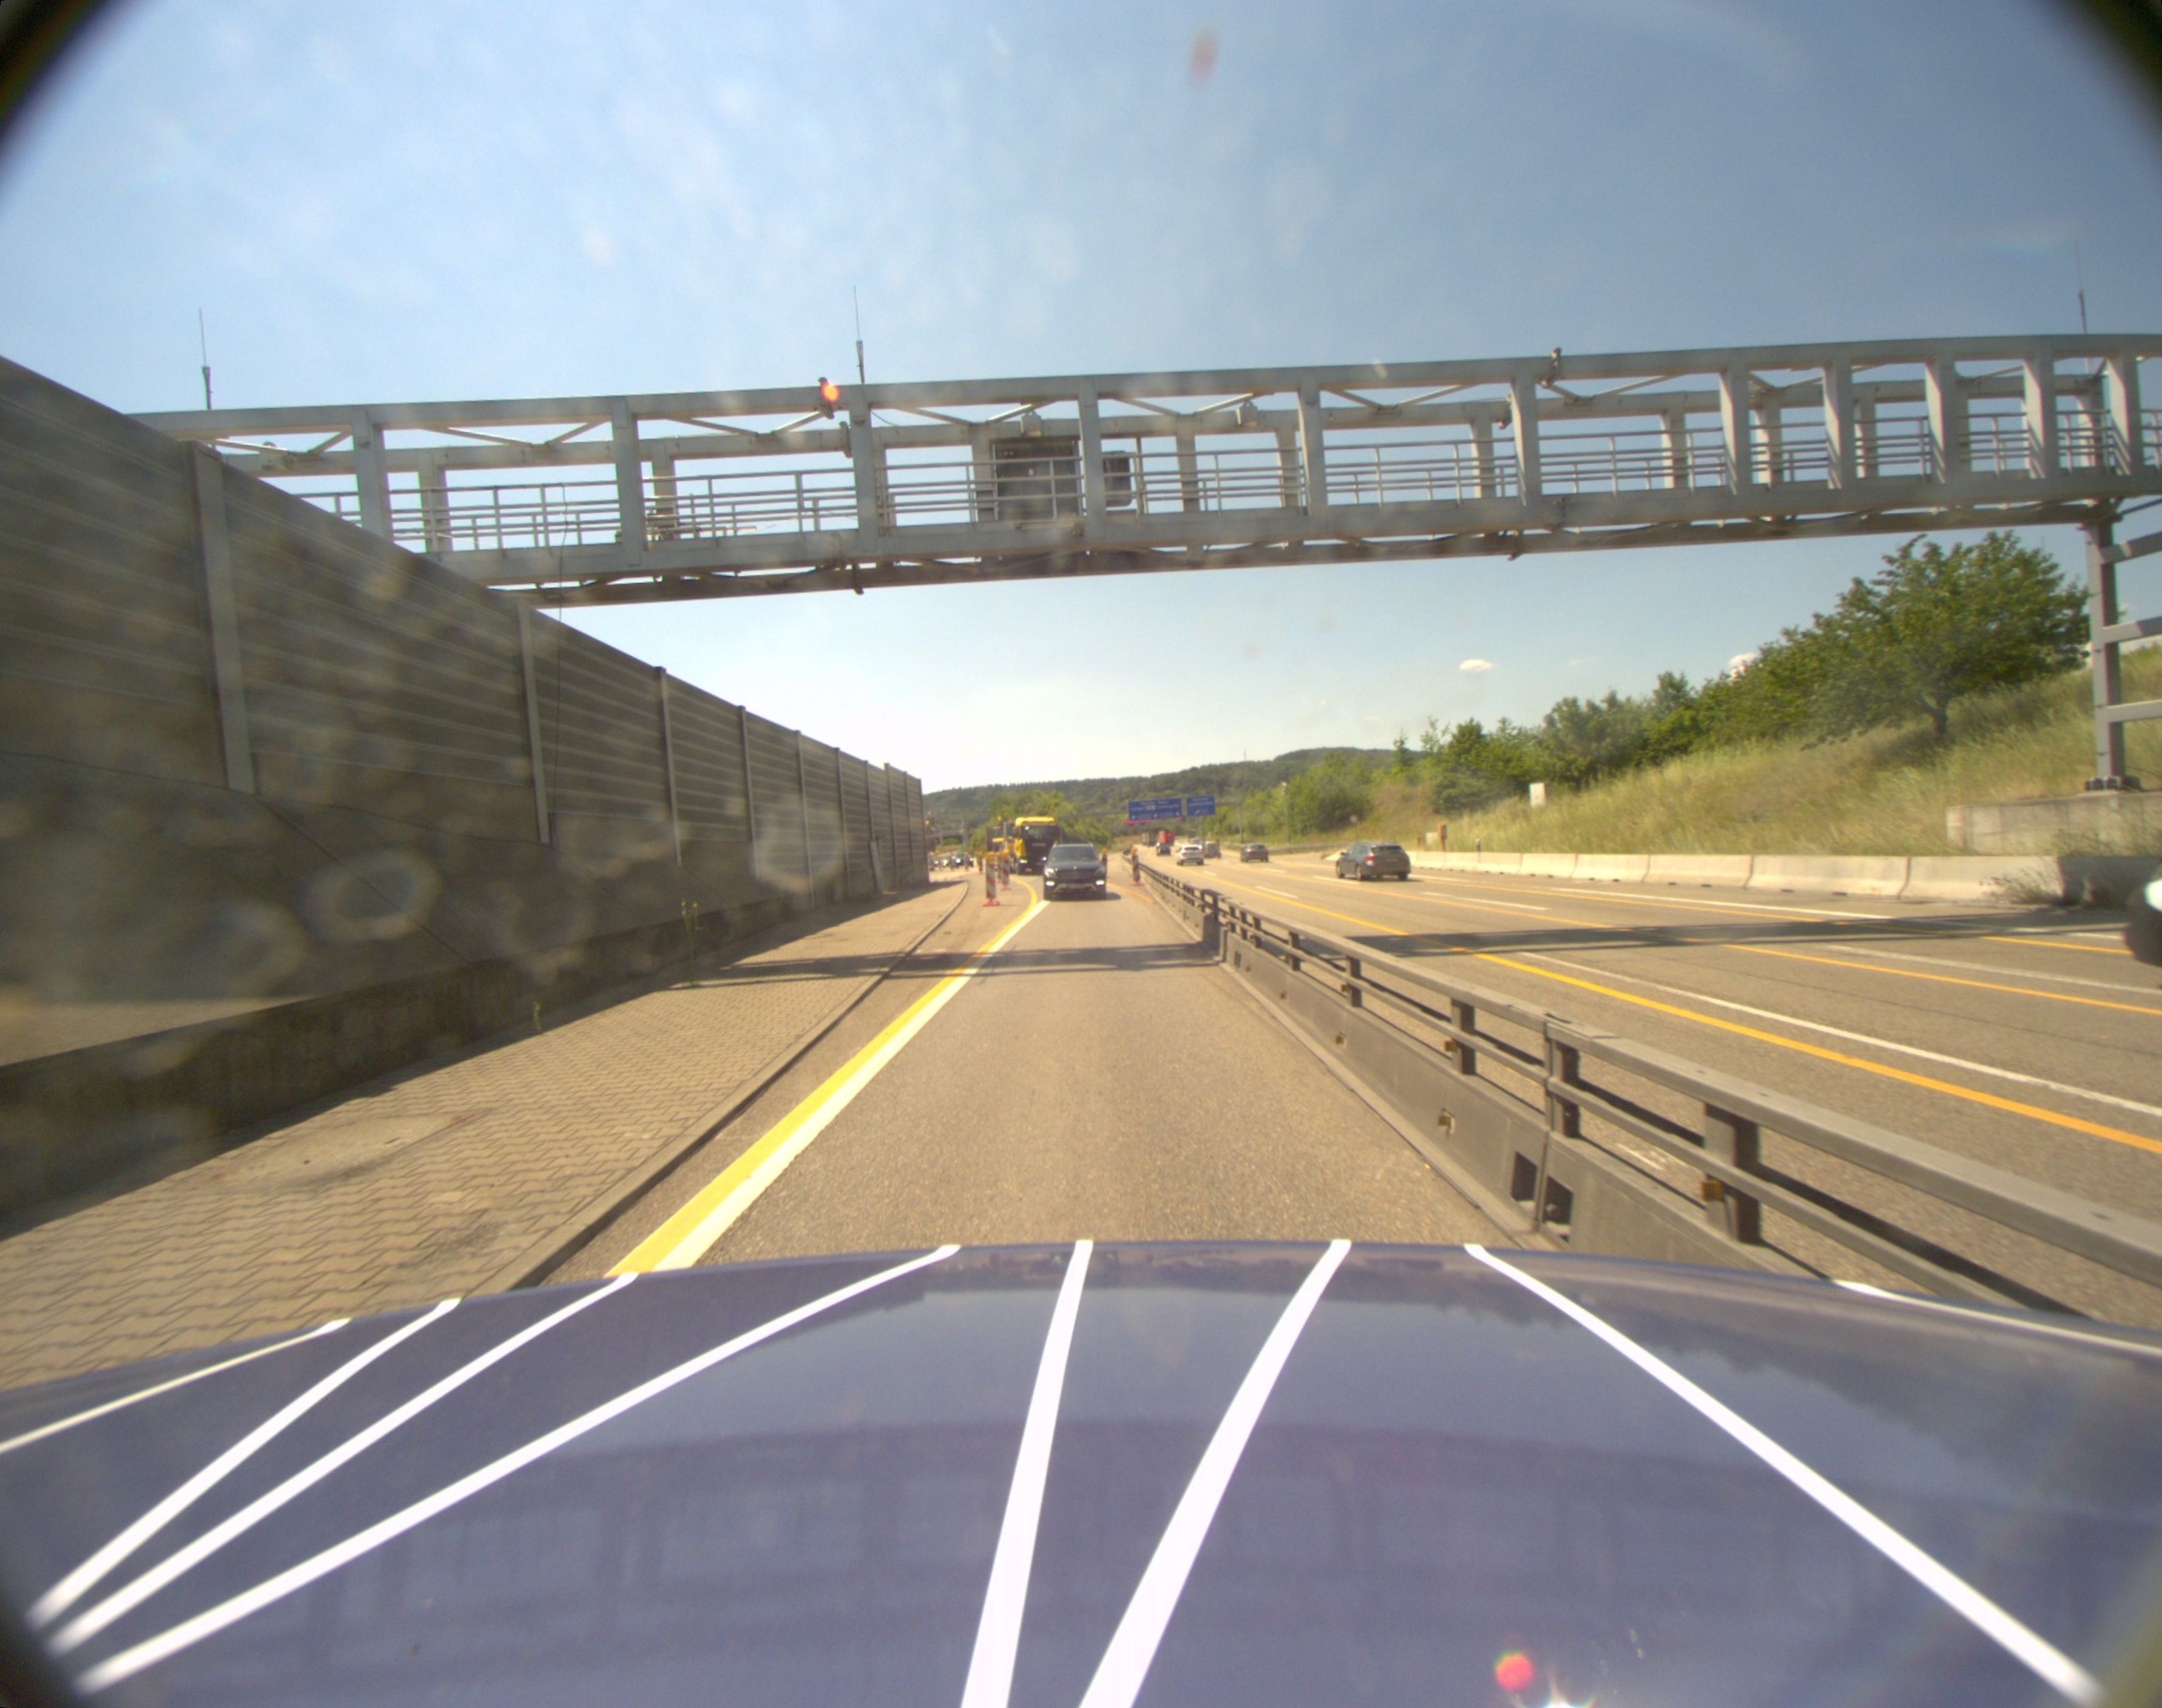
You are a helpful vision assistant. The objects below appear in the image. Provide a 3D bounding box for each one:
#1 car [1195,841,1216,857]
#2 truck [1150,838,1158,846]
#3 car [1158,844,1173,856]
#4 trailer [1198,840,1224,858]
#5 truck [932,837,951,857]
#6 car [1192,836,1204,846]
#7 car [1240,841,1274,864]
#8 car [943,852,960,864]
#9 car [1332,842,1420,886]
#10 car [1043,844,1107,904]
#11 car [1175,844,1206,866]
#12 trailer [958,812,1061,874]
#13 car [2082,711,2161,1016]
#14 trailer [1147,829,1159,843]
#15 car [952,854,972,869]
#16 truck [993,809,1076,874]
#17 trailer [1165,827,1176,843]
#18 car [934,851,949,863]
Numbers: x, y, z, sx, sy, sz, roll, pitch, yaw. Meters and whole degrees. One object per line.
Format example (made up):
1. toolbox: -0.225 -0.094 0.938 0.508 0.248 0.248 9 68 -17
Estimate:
1. car: 14.106 -0.538 86.491 1.778 1.717 4.868 -2 0 2
2. truck: 20.582 -3.351 213.270 1.998 1.862 4.762 -4 0 4
3. car: 11.727 -0.610 105.441 1.777 1.584 4.986 -2 0 3
4. trailer: 13.852 -0.527 81.282 1.951 1.795 5.523 -2 0 2
5. truck: -30.012 -1.413 162.640 3.239 3.646 17.404 -6 1 -12
6. car: 23.393 -2.619 152.131 1.691 1.824 4.787 -2 2 2
7. car: 14.085 -0.138 61.180 1.778 1.657 4.807 -2 0 2
8. car: -15.627 0.474 91.365 1.477 1.439 4.354 -2 1 -16
9. car: 11.277 0.345 29.388 1.778 1.507 4.564 -2 0 2
10. car: -0.217 0.555 24.751 1.820 1.686 4.492 -3 1 -1
11. car: 8.449 0.059 58.938 1.778 1.568 4.446 -2 0 1
12. trailer: -5.909 -0.560 57.354 3.241 3.646 17.395 -7 1 -19
13. car: 9.803 0.074 3.682 1.998 2.500 6.041 -2 1 1
14. trailer: 23.477 -5.819 249.102 2.441 4.272 13.806 -4 1 1
15. car: -12.595 0.769 80.299 1.477 1.439 4.354 -2 1 -17
16. truck: -3.183 -0.700 49.525 3.234 3.640 7.072 -7 1 -19
17. trailer: 24.077 -5.077 205.924 2.343 4.079 13.262 -4 1 5
18. car: -18.404 0.405 100.053 1.477 1.439 4.354 -2 1 -15
